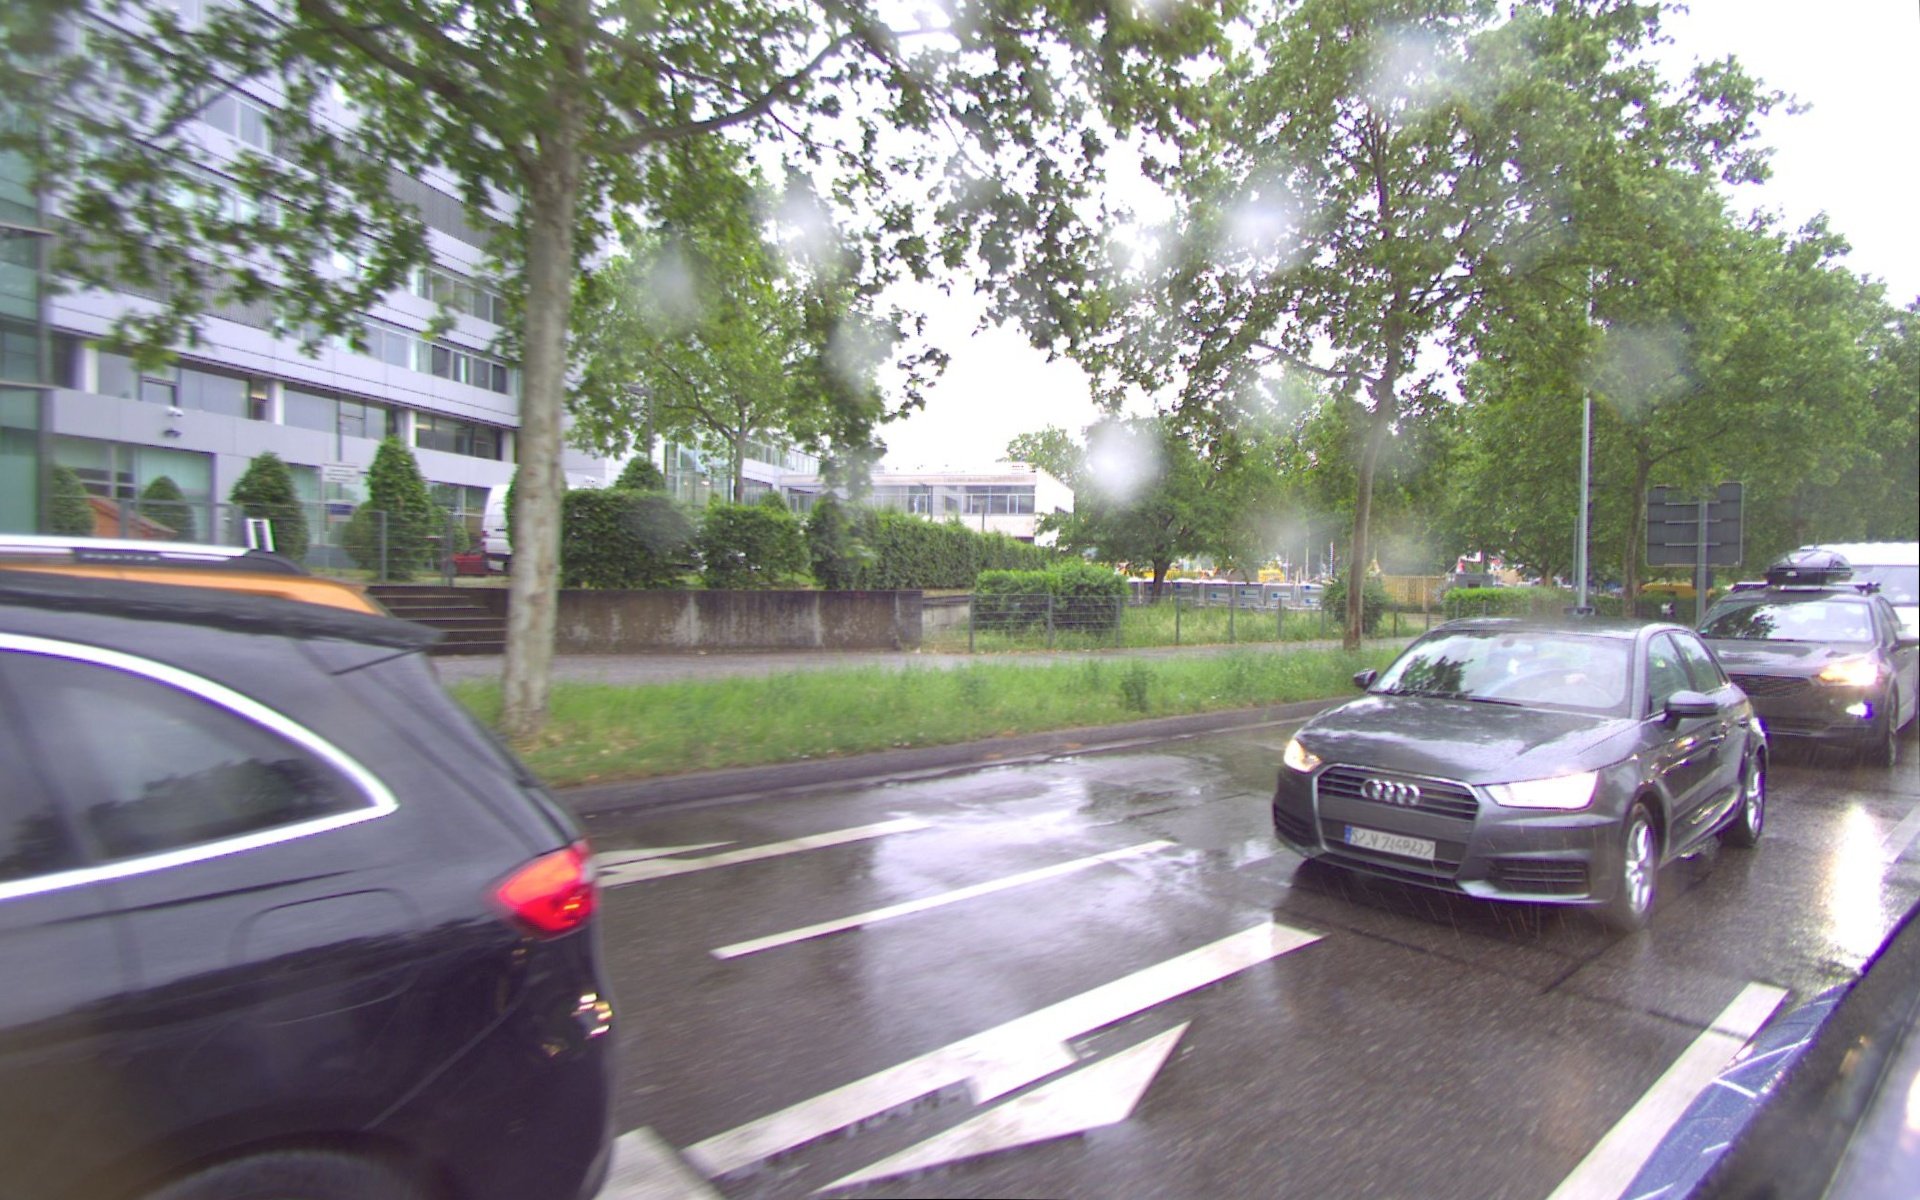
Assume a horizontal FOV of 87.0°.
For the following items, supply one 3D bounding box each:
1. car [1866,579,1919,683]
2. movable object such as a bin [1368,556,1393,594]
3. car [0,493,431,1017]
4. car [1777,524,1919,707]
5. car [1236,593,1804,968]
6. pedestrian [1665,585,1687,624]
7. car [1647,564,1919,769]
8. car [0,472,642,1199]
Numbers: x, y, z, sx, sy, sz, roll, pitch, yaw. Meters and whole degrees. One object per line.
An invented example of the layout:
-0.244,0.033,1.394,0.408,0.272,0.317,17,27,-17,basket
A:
19.670,0.585,20.270,4.469,1.937,1.805,0,1,-42,car
39.946,-2.313,96.202,1.894,3.478,4.907,0,0,19,movable object such as a bin
-4.252,0.505,3.447,4.074,1.707,1.677,1,-2,-41,car
14.573,0.194,15.912,5.227,2.476,1.892,0,1,-42,car
3.377,0.699,5.810,3.715,1.446,1.679,0,1,-41,car
32.209,0.196,45.528,0.645,1.738,0.645,0,0,-40,pedestrian
8.927,0.533,10.687,4.350,1.719,1.891,0,1,-44,car
-2.652,0.617,1.162,4.021,1.574,1.750,0,1,-42,car
